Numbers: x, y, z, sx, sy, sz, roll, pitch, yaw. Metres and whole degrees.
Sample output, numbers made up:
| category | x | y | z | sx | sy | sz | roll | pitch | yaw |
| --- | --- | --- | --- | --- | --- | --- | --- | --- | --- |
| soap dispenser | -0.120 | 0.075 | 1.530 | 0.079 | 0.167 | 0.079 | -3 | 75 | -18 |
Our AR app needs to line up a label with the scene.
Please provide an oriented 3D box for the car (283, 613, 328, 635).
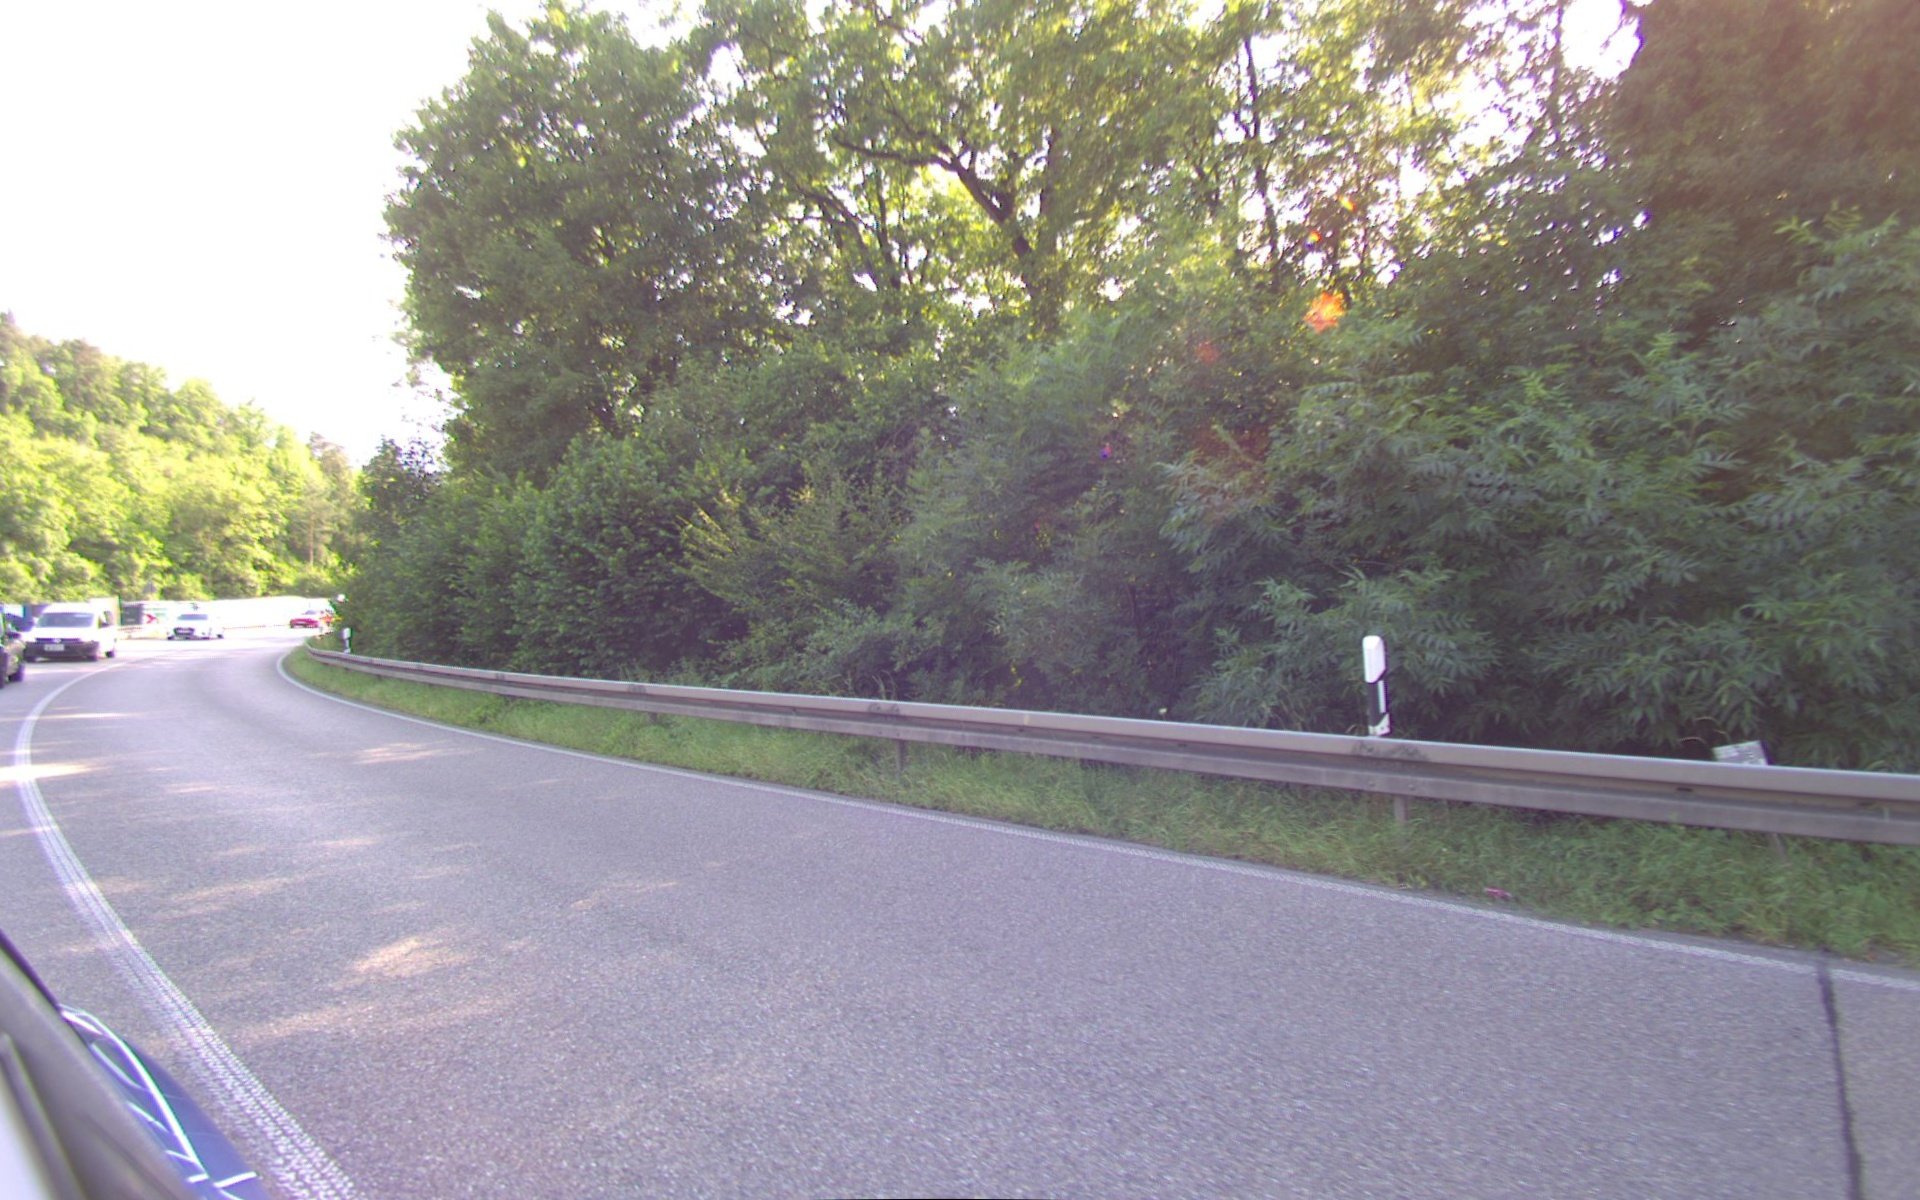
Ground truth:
| category | x | y | z | sx | sy | sz | roll | pitch | yaw |
| --- | --- | --- | --- | --- | --- | --- | --- | --- | --- |
| car | -48.132 | 1.754 | 74.507 | 1.829 | 1.431 | 4.433 | -3 | 1 | -20 |

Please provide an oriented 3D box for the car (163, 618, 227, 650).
| category | x | y | z | sx | sy | sz | roll | pitch | yaw |
| --- | --- | --- | --- | --- | --- | --- | --- | --- | --- |
| car | -39.711 | 1.728 | 52.641 | 1.865 | 1.456 | 4.490 | -3 | 1 | -27 |

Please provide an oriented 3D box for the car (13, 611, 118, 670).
| category | x | y | z | sx | sy | sz | roll | pitch | yaw |
| --- | --- | --- | --- | --- | --- | --- | --- | --- | --- |
| car | -28.996 | 1.255 | 32.961 | 1.837 | 1.733 | 4.777 | 0 | 0 | -33 |

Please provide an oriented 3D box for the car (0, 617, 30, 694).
| category | x | y | z | sx | sy | sz | roll | pitch | yaw |
| --- | --- | --- | --- | --- | --- | --- | --- | --- | --- |
| car | -21.194 | 1.174 | 21.331 | 1.819 | 1.582 | 4.267 | 0 | -2 | -36 |
